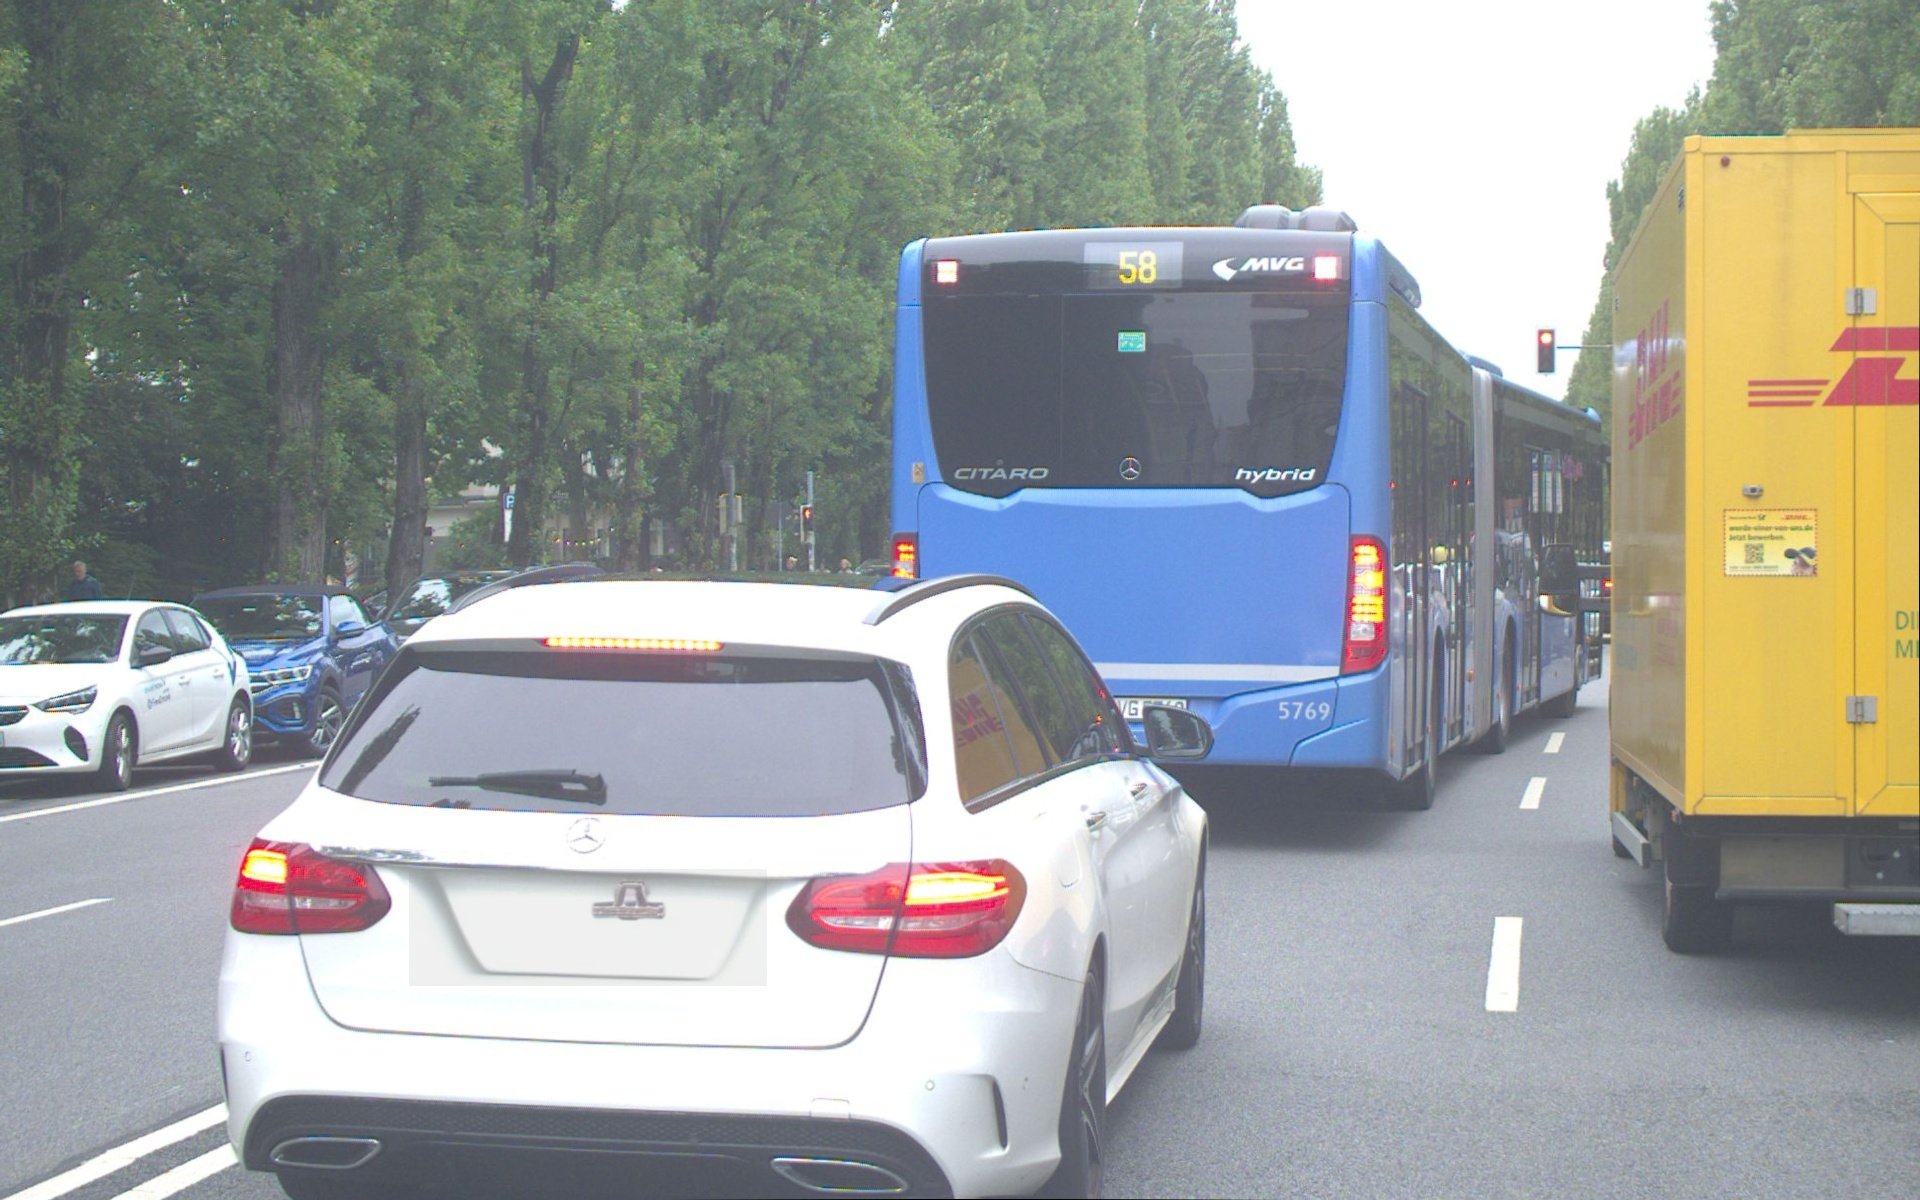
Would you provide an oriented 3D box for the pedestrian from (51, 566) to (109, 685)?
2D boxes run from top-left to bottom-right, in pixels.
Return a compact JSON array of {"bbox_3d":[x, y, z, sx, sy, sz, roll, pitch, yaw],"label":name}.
[{"bbox_3d":[-12.995,0.378,50.771,0.600,1.733,0.640,-1,1,9],"label":"pedestrian"}]

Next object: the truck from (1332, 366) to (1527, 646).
[{"bbox_3d":[7.276,-1.407,53.747,2.716,3.952,9.216,-1,1,7],"label":"truck"}]

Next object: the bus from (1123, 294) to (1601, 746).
[{"bbox_3d":[3.827,-0.651,30.130,2.874,3.292,9.783,0,1,14],"label":"bus"}]

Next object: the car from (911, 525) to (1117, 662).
[{"bbox_3d":[0.898,-0.130,52.098,2.183,1.885,5.693,-2,0,10],"label":"car"}]

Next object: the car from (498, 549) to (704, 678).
[{"bbox_3d":[-4.365,0.137,42.341,1.540,1.428,3.868,-4,0,8],"label":"car"}]

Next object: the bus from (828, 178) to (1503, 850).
[{"bbox_3d":[1.671,-0.483,21.121,2.857,3.202,9.055,0,1,12],"label":"bus"}]

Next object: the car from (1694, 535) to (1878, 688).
[{"bbox_3d":[9.179,0.085,38.435,1.678,1.590,4.085,1,1,9],"label":"car"}]

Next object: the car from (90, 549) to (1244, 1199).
[{"bbox_3d":[-0.386,0.605,8.675,1.826,1.449,4.581,0,1,9],"label":"car"}]

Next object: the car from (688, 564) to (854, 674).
[{"bbox_3d":[-2.794,0.258,51.712,1.709,1.542,3.999,-1,1,8],"label":"car"}]

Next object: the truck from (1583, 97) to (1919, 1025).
[{"bbox_3d":[3.887,-0.175,14.266,2.328,2.888,7.330,0,1,9],"label":"truck"}]

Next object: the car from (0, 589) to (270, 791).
[{"bbox_3d":[-6.953,0.674,27.071,1.685,1.408,4.003,-2,0,8],"label":"car"}]

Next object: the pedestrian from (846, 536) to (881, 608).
[{"bbox_3d":[-2.716,-0.791,96.597,0.830,2.007,0.777,-1,1,7],"label":"pedestrian"}]

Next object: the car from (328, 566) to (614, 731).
[{"bbox_3d":[-5.141,0.475,36.714,1.791,1.542,4.337,-4,0,8],"label":"car"}]

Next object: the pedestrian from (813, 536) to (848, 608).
[{"bbox_3d":[-3.639,-0.786,96.501,0.830,2.007,0.777,-1,1,7],"label":"pedestrian"}]

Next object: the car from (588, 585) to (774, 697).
[{"bbox_3d":[-3.789,0.530,47.307,1.676,1.408,3.999,-1,1,8],"label":"car"}]

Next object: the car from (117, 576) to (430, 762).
[{"bbox_3d":[-6.203,0.580,31.519,1.743,1.513,4.117,-2,0,4],"label":"car"}]
